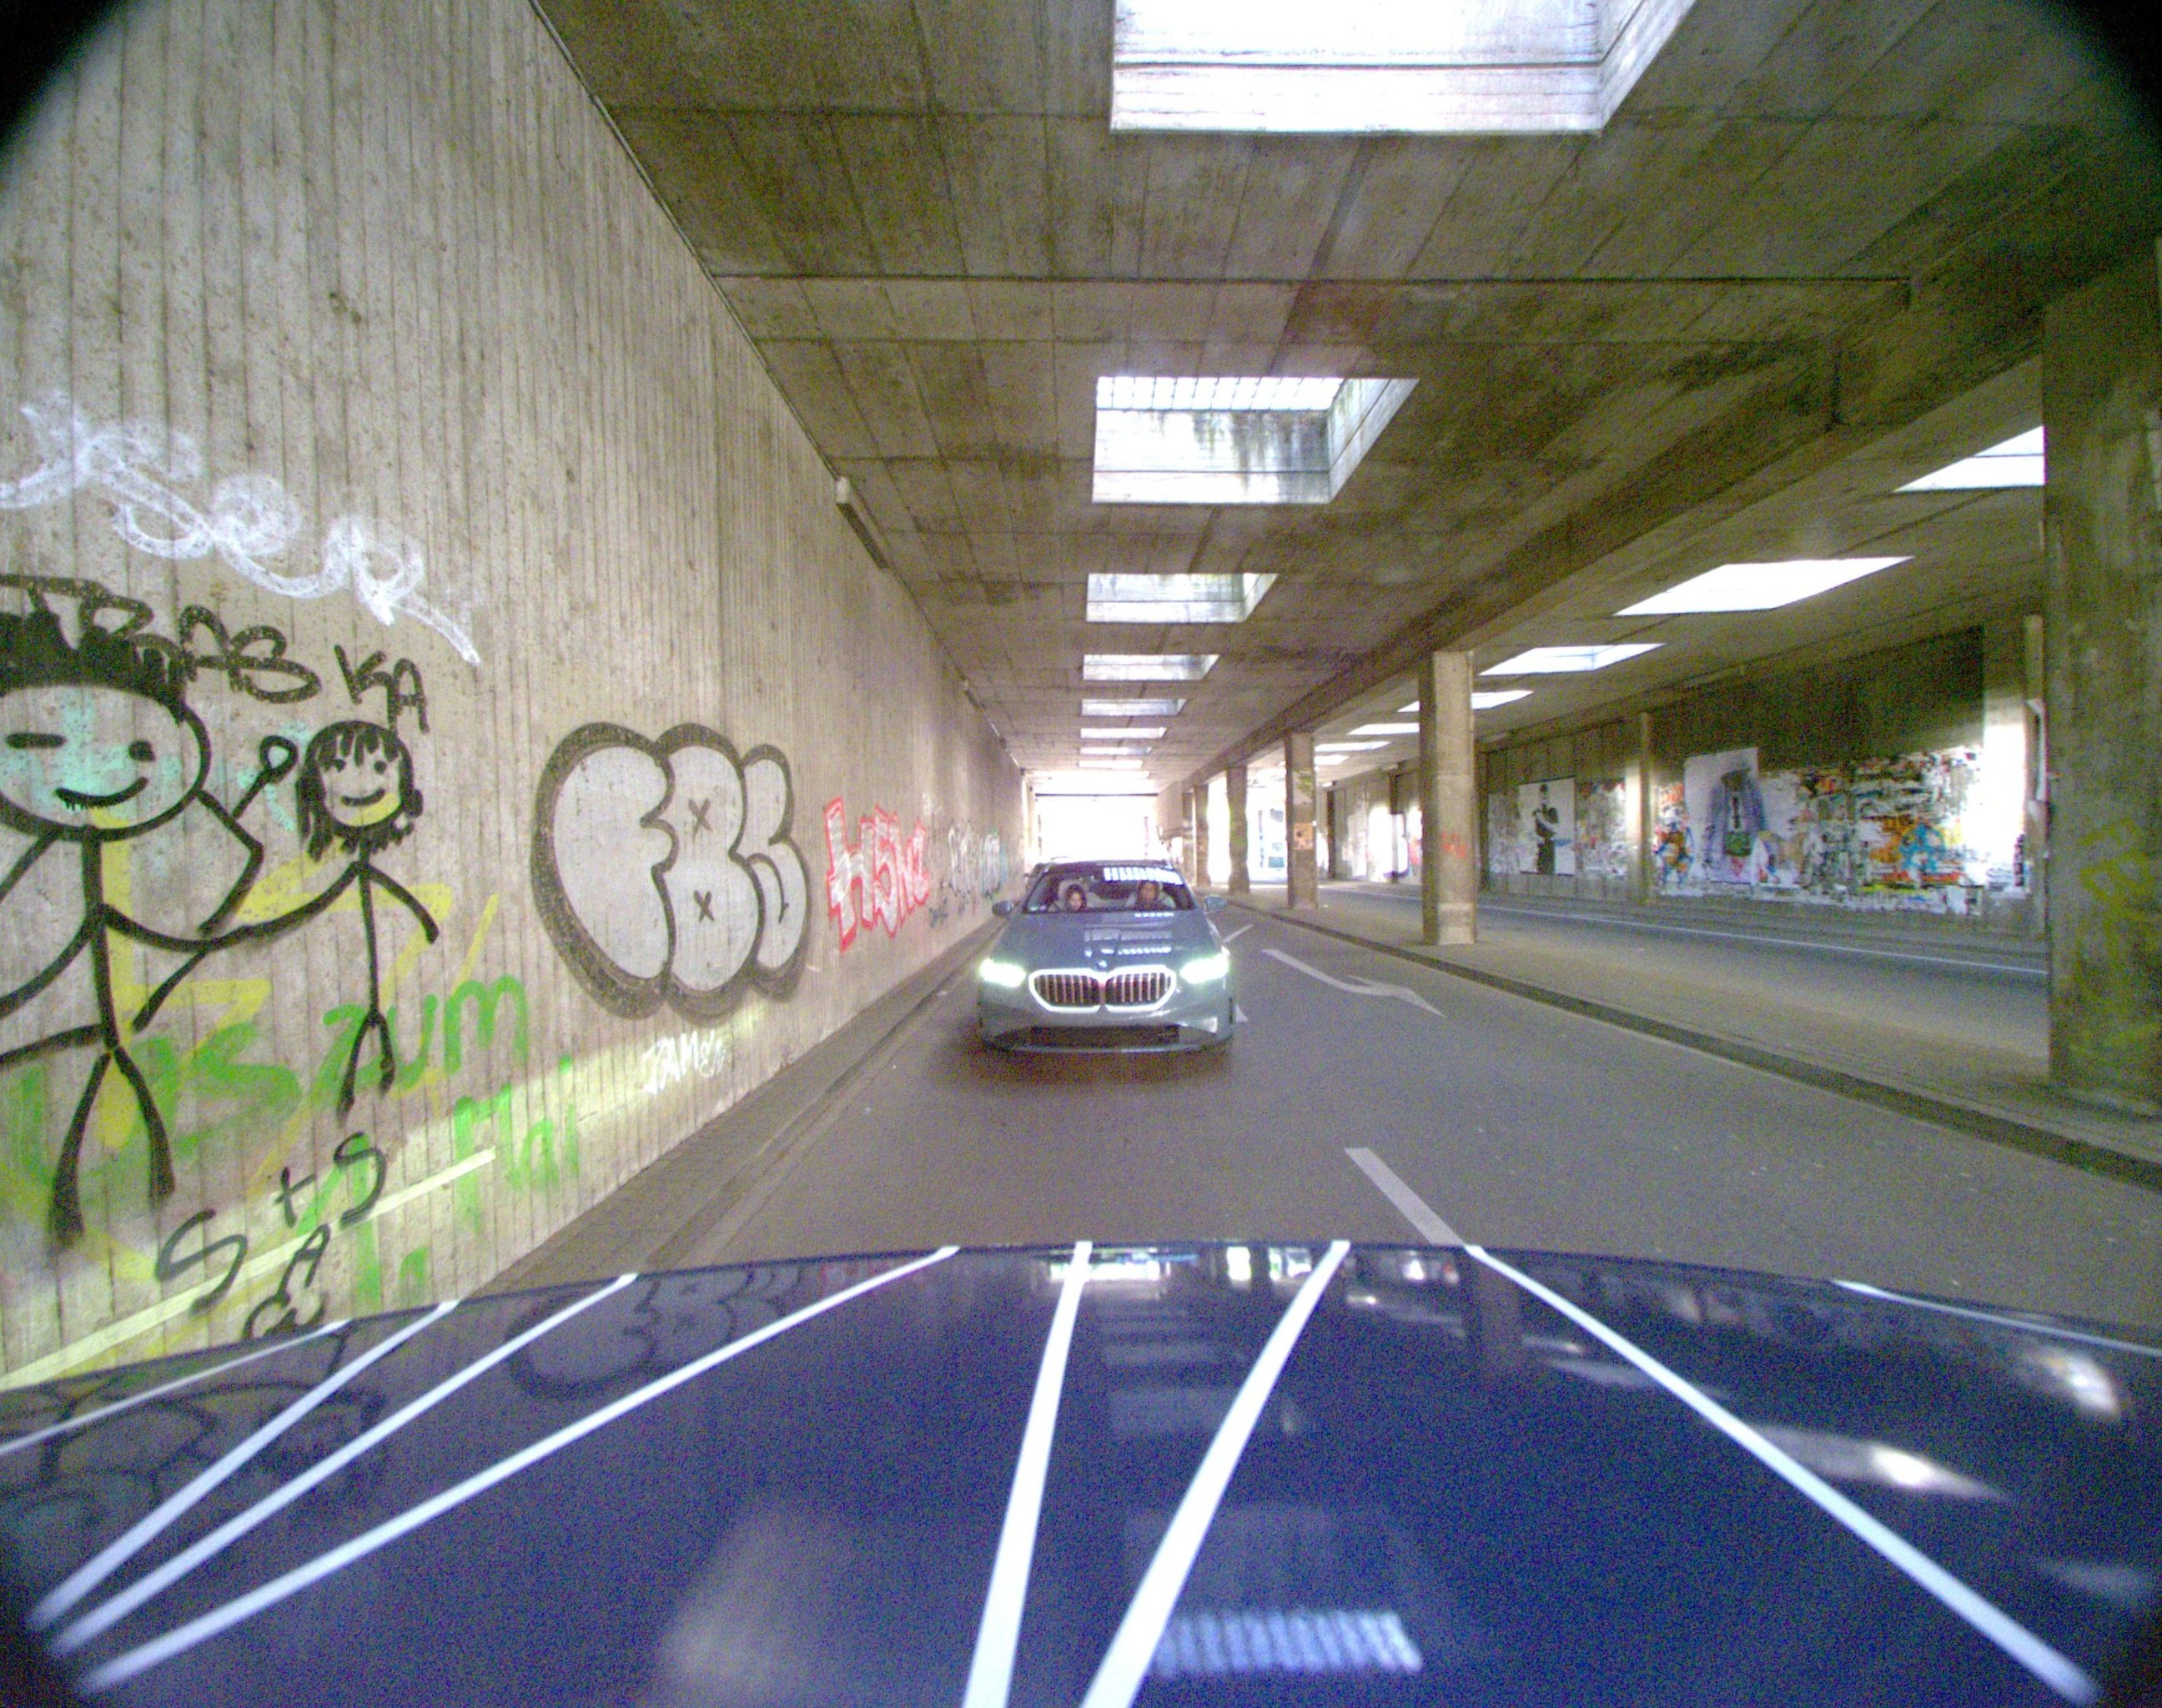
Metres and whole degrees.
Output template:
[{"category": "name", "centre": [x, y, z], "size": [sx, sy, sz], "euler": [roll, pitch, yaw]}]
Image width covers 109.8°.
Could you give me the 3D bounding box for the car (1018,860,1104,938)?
[{"category": "car", "centre": [-0.417, 0.925, 17.295], "size": [1.679, 1.516, 3.969], "euler": [-2, 0, 0]}]

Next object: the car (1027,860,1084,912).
[{"category": "car", "centre": [-0.752, 0.954, 23.921], "size": [1.592, 1.432, 3.806], "euler": [-2, 0, 0]}]

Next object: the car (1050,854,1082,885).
[{"category": "car", "centre": [-0.794, 0.813, 41.255], "size": [1.592, 1.562, 3.694], "euler": [-2, 0, 0]}]

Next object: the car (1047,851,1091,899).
[{"category": "car", "centre": [-0.452, 0.777, 29.928], "size": [1.592, 1.711, 3.694], "euler": [-2, 0, 0]}]

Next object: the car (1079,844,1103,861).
[{"category": "car", "centre": [1.304, -0.177, 103.667], "size": [2.161, 2.150, 4.785], "euler": [-2, 0, -12]}]

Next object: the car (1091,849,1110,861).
[{"category": "car", "centre": [2.500, 0.153, 97.975], "size": [1.741, 1.519, 3.786], "euler": [-2, 0, -9]}]

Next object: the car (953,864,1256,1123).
[{"category": "car", "centre": [0.135, 0.910, 7.286], "size": [1.861, 1.516, 5.042], "euler": [-2, 0, 0]}]
